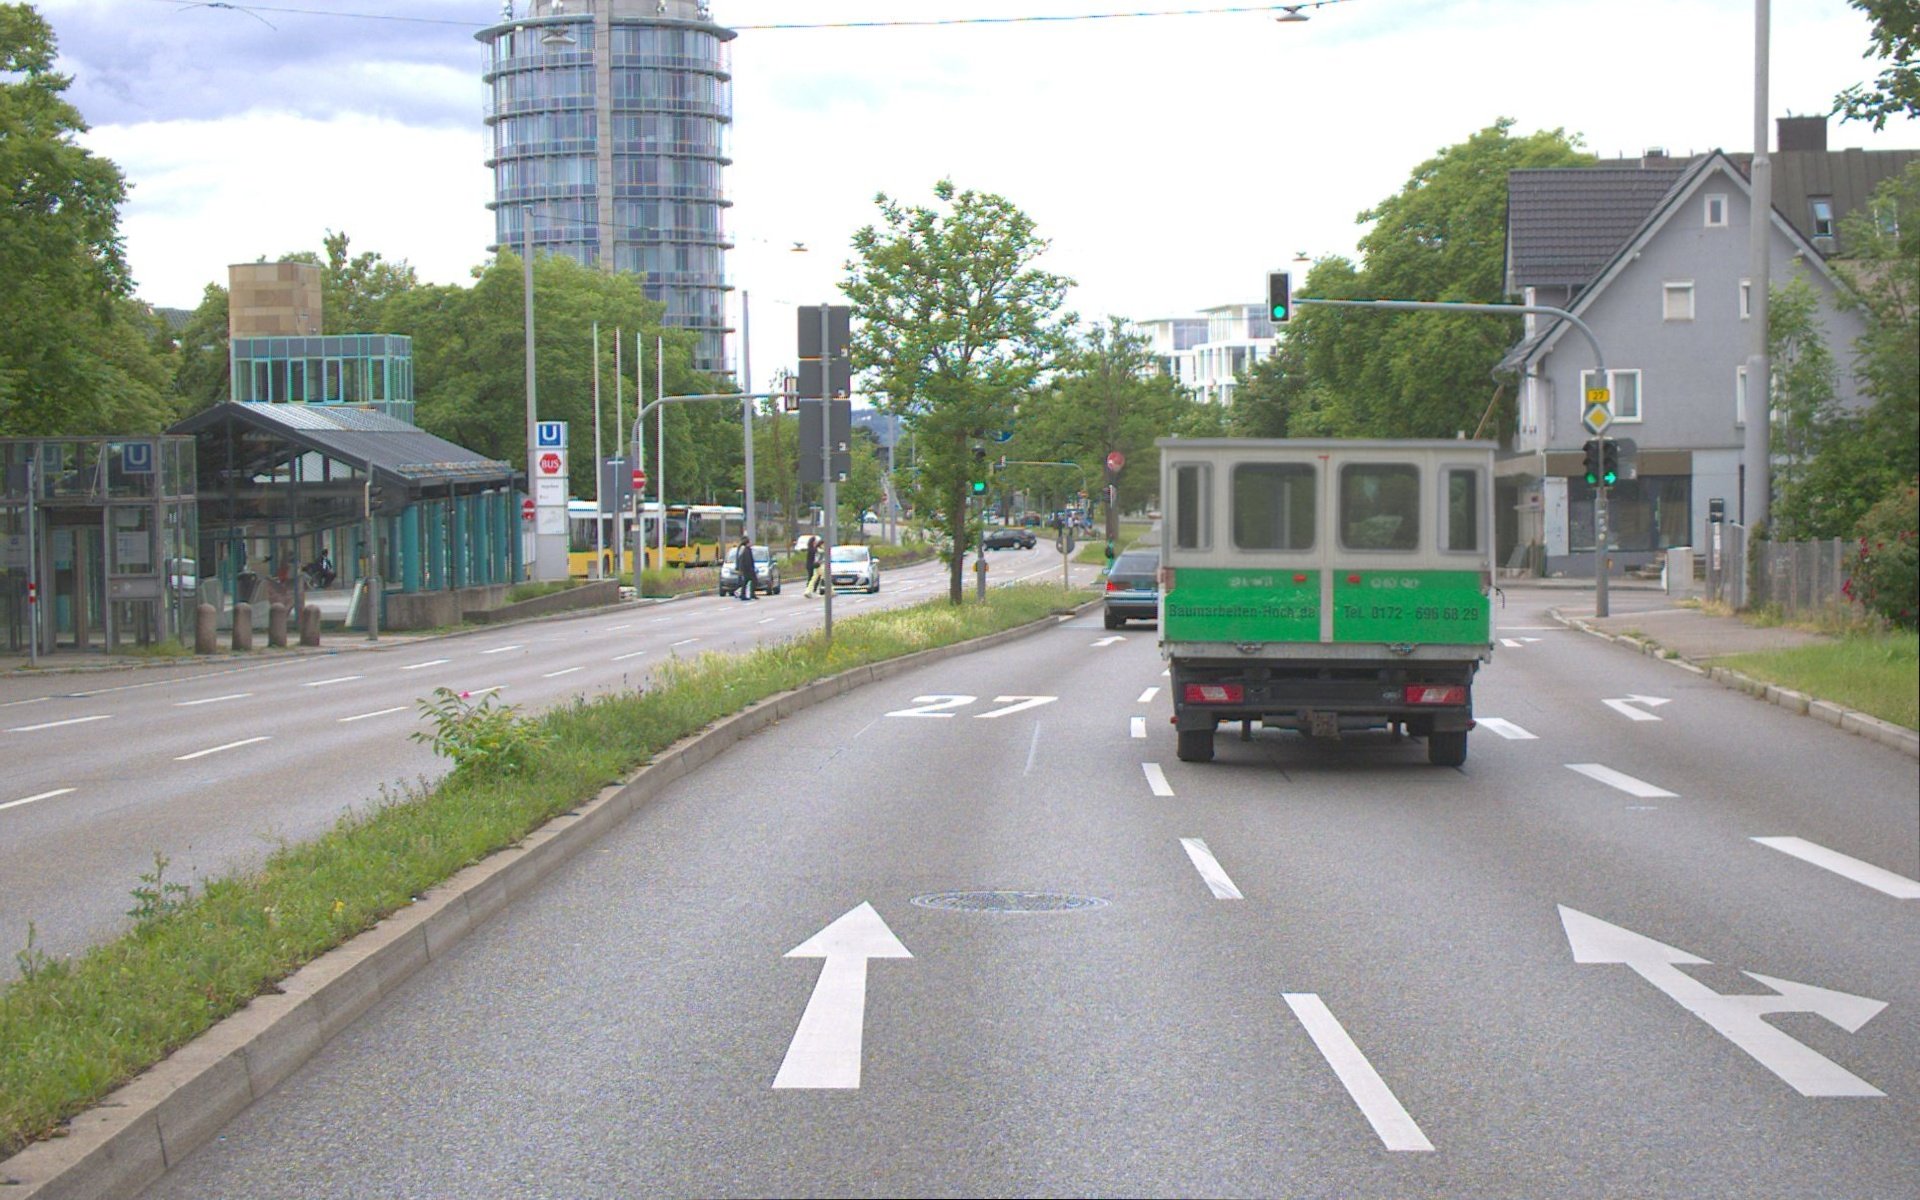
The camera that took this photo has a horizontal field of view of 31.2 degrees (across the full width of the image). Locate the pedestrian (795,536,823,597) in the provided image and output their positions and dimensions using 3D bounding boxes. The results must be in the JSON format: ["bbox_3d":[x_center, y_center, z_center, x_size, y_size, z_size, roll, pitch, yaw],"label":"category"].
[{"bbox_3d":[-4.288,-0.960,97.644,0.745,1.710,0.583,-1,1,0],"label":"pedestrian"}]

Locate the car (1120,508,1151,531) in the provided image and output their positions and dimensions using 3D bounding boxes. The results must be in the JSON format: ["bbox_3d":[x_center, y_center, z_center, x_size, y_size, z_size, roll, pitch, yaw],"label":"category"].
[{"bbox_3d":[11.824,-5.396,231.527,1.994,1.514,4.000,-1,1,3],"label":"car"}]

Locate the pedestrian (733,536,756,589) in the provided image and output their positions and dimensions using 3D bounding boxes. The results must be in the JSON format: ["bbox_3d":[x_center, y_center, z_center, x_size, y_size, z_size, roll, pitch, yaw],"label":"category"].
[{"bbox_3d":[-6.163,-1.075,98.352,0.543,1.491,0.486,-1,1,4],"label":"pedestrian"}]

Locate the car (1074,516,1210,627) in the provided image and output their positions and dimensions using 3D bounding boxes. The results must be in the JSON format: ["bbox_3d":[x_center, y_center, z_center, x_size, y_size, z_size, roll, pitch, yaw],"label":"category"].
[{"bbox_3d":[3.158,-0.513,58.931,1.994,1.824,3.999,0,1,8],"label":"car"}]

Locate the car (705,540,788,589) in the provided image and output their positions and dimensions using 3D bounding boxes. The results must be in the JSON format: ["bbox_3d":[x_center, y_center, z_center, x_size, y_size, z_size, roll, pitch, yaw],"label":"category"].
[{"bbox_3d":[-6.666,-1.116,107.833,1.994,1.481,3.999,-1,1,5],"label":"car"}]

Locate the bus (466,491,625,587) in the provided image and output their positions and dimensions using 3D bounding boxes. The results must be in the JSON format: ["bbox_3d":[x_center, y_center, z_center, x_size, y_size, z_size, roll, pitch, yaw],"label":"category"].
[{"bbox_3d":[-15.630,-2.305,130.609,2.833,3.419,10.729,-1,1,10],"label":"bus"}]

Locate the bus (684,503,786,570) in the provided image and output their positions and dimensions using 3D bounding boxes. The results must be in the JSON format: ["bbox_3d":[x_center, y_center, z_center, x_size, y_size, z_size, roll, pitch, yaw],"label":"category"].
[{"bbox_3d":[-11.912,-3.364,183.022,2.833,3.419,10.729,-1,1,10],"label":"bus"}]

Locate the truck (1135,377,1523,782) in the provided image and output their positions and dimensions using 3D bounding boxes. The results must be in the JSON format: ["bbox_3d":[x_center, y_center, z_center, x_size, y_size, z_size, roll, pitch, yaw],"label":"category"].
[{"bbox_3d":[2.625,-0.254,25.462,2.471,2.602,6.547,0,2,4],"label":"truck"}]

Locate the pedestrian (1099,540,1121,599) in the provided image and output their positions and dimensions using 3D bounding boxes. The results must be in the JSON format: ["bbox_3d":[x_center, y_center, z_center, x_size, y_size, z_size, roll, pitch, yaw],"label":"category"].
[{"bbox_3d":[4.375,-0.883,100.472,0.583,1.710,0.546,-1,1,0],"label":"pedestrian"}]

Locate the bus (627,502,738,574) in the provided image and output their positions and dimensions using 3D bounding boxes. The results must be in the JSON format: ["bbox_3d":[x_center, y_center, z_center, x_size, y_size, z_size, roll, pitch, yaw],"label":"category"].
[{"bbox_3d":[-13.839,-3.091,172.443,2.833,3.419,10.729,-1,1,10],"label":"bus"}]

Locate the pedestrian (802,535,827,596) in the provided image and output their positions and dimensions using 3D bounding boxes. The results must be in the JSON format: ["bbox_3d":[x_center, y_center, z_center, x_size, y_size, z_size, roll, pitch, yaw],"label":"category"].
[{"bbox_3d":[-4.104,-0.968,97.016,0.653,1.710,0.452,-1,1,0],"label":"pedestrian"}]

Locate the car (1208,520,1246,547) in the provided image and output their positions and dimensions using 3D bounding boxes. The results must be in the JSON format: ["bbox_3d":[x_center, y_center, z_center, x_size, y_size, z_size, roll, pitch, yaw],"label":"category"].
[{"bbox_3d":[15.207,-3.802,196.162,1.994,1.514,4.000,-1,1,3],"label":"car"}]

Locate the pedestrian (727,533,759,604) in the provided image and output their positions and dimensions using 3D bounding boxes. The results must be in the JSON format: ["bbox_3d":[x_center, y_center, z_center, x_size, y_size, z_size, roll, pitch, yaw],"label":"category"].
[{"bbox_3d":[-6.143,-0.893,97.372,0.830,2.007,0.546,-1,1,0],"label":"pedestrian"}]

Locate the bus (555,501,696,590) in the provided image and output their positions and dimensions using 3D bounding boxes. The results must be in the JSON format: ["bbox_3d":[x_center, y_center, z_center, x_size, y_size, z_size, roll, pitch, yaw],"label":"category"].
[{"bbox_3d":[-13.575,-2.228,140.471,2.833,3.419,10.729,-1,1,10],"label":"bus"}]

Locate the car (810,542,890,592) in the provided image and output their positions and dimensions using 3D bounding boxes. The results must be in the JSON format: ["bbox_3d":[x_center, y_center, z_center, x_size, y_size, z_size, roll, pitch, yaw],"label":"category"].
[{"bbox_3d":[-3.404,-1.032,107.358,1.994,1.481,3.999,-1,1,5],"label":"car"}]
